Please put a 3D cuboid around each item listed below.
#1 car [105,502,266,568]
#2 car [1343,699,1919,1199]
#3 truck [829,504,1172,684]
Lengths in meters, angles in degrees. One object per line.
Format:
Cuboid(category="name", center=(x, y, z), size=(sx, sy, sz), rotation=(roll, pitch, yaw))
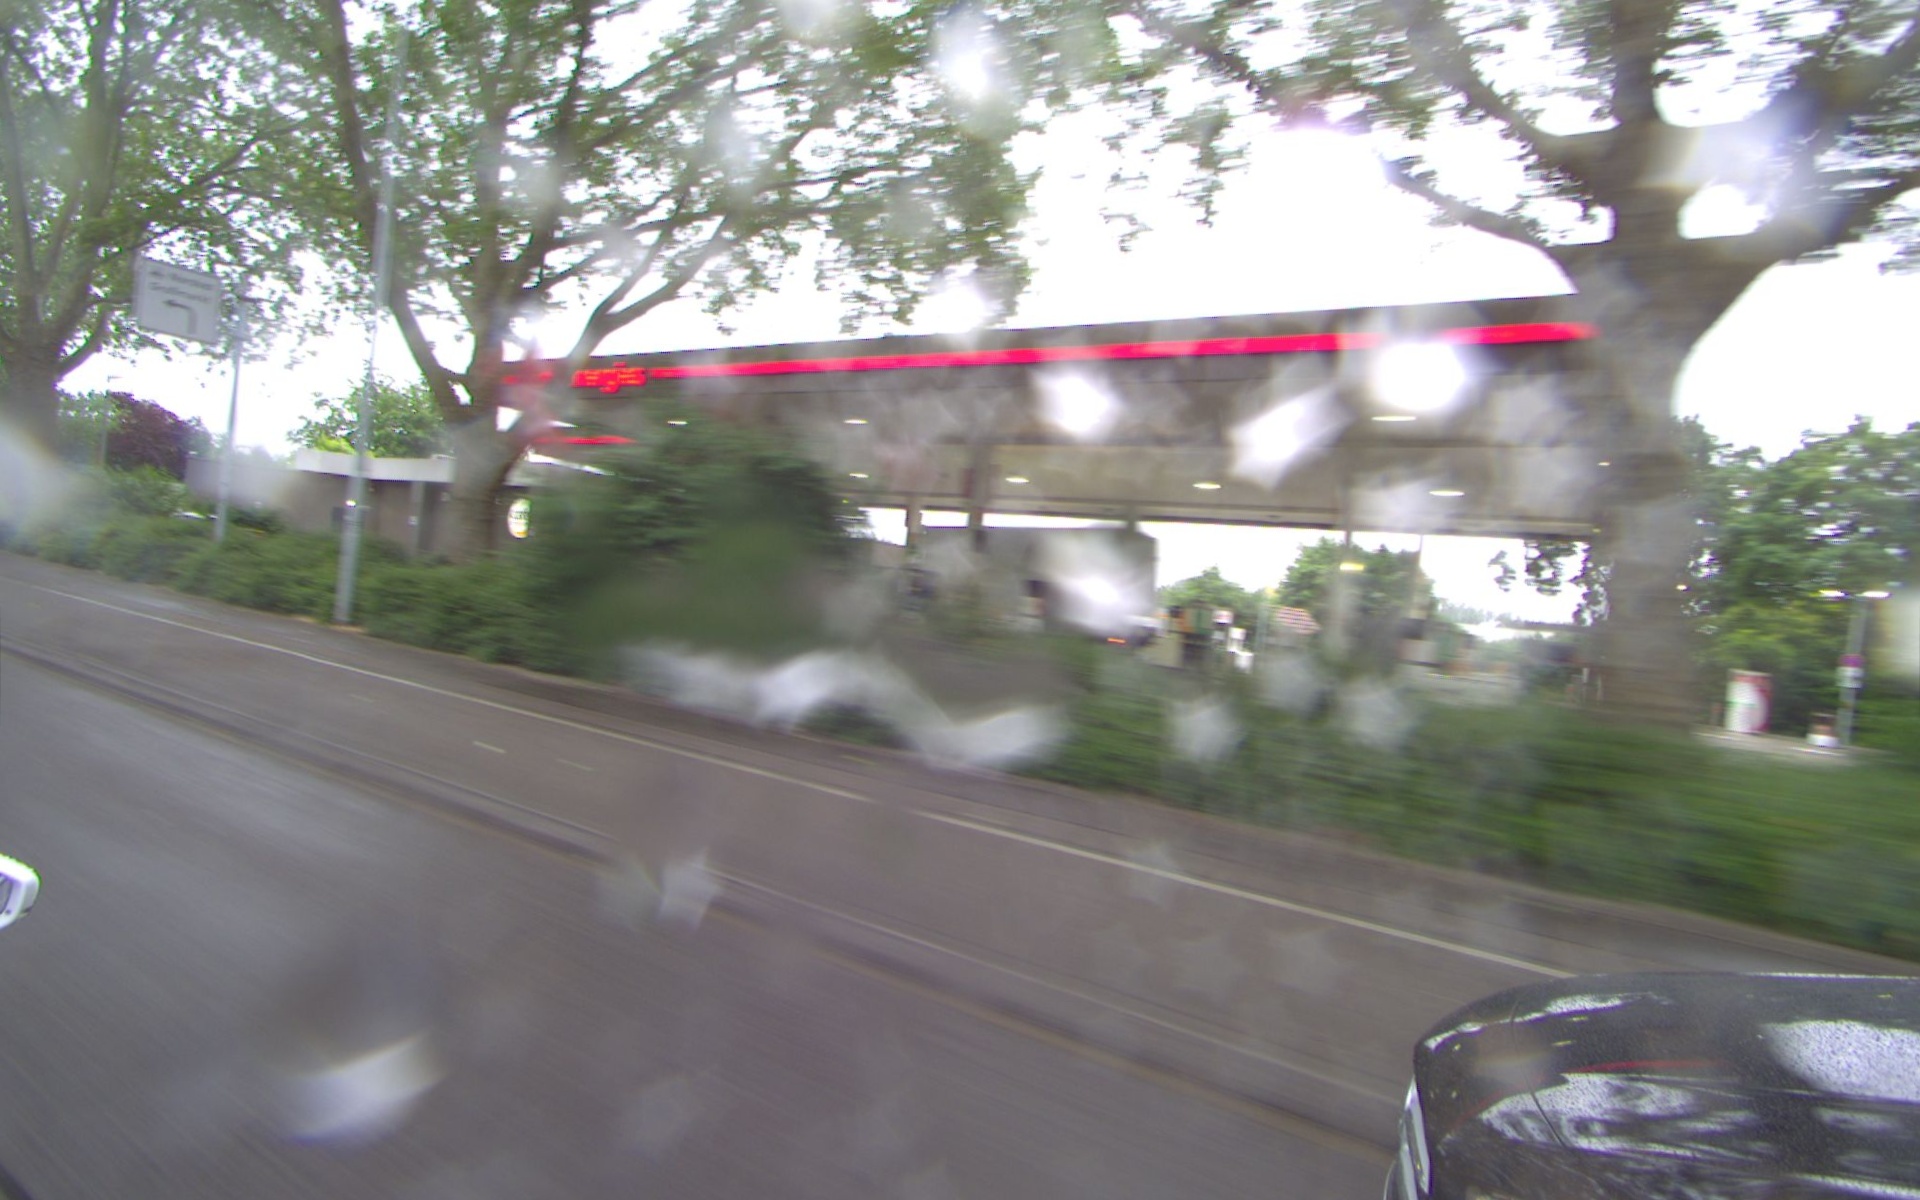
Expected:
Cuboid(category="car", center=(-24.033, -2.002, 31.325), size=(3.496, 1.448, 1.606), rotation=(7, -1, -10))
Cuboid(category="car", center=(2.777, 1.122, 0.960), size=(4.347, 1.548, 1.820), rotation=(5, -2, 30))
Cuboid(category="truck", center=(0.869, -0.205, 24.497), size=(7.638, 3.391, 2.700), rotation=(7, -1, 30))
